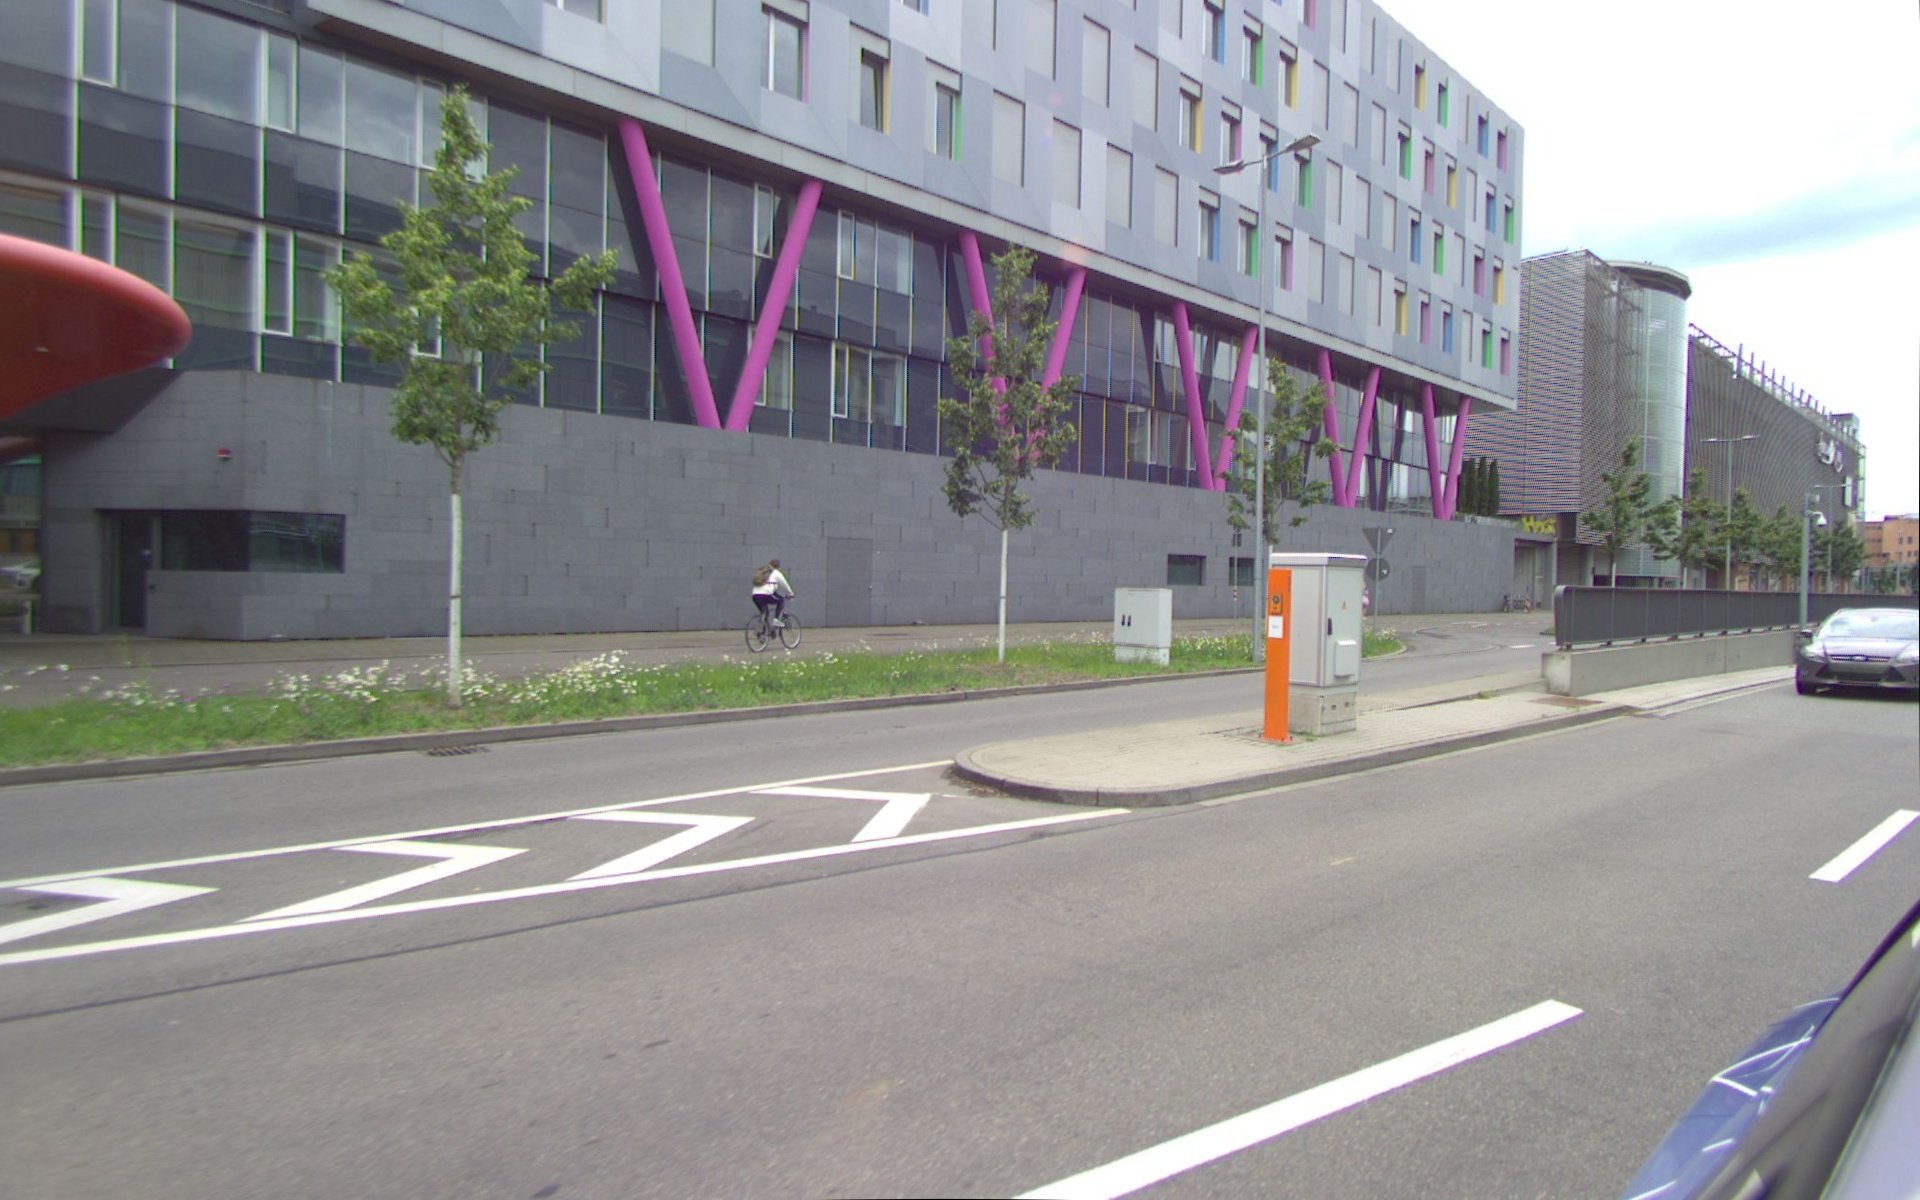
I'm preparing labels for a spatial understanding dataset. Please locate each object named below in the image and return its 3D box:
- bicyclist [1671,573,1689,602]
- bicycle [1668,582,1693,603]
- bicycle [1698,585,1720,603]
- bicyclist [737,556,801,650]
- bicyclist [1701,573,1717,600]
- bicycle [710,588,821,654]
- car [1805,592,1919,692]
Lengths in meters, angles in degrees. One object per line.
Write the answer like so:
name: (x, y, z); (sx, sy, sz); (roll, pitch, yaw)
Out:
bicyclist: (46.227, -0.814, 64.984); (0.692, 1.826, 0.783); (5, -3, -41)
bicycle: (46.393, -0.485, 65.128); (2.304, 1.173, 0.800); (5, -3, -42)
bicycle: (50.785, -0.400, 68.604); (2.304, 1.173, 0.800); (1, 0, -42)
bicyclist: (-3.773, 0.045, 20.013); (0.769, 1.809, 0.961); (2, 1, 38)
bicyclist: (50.737, -0.914, 68.543); (0.692, 1.825, 0.783); (1, -1, -42)
bicycle: (-3.801, 0.388, 19.984); (0.781, 1.209, 2.191); (2, 1, 37)
car: (16.016, 0.734, 17.305); (4.193, 1.518, 1.751); (3, -1, -41)
